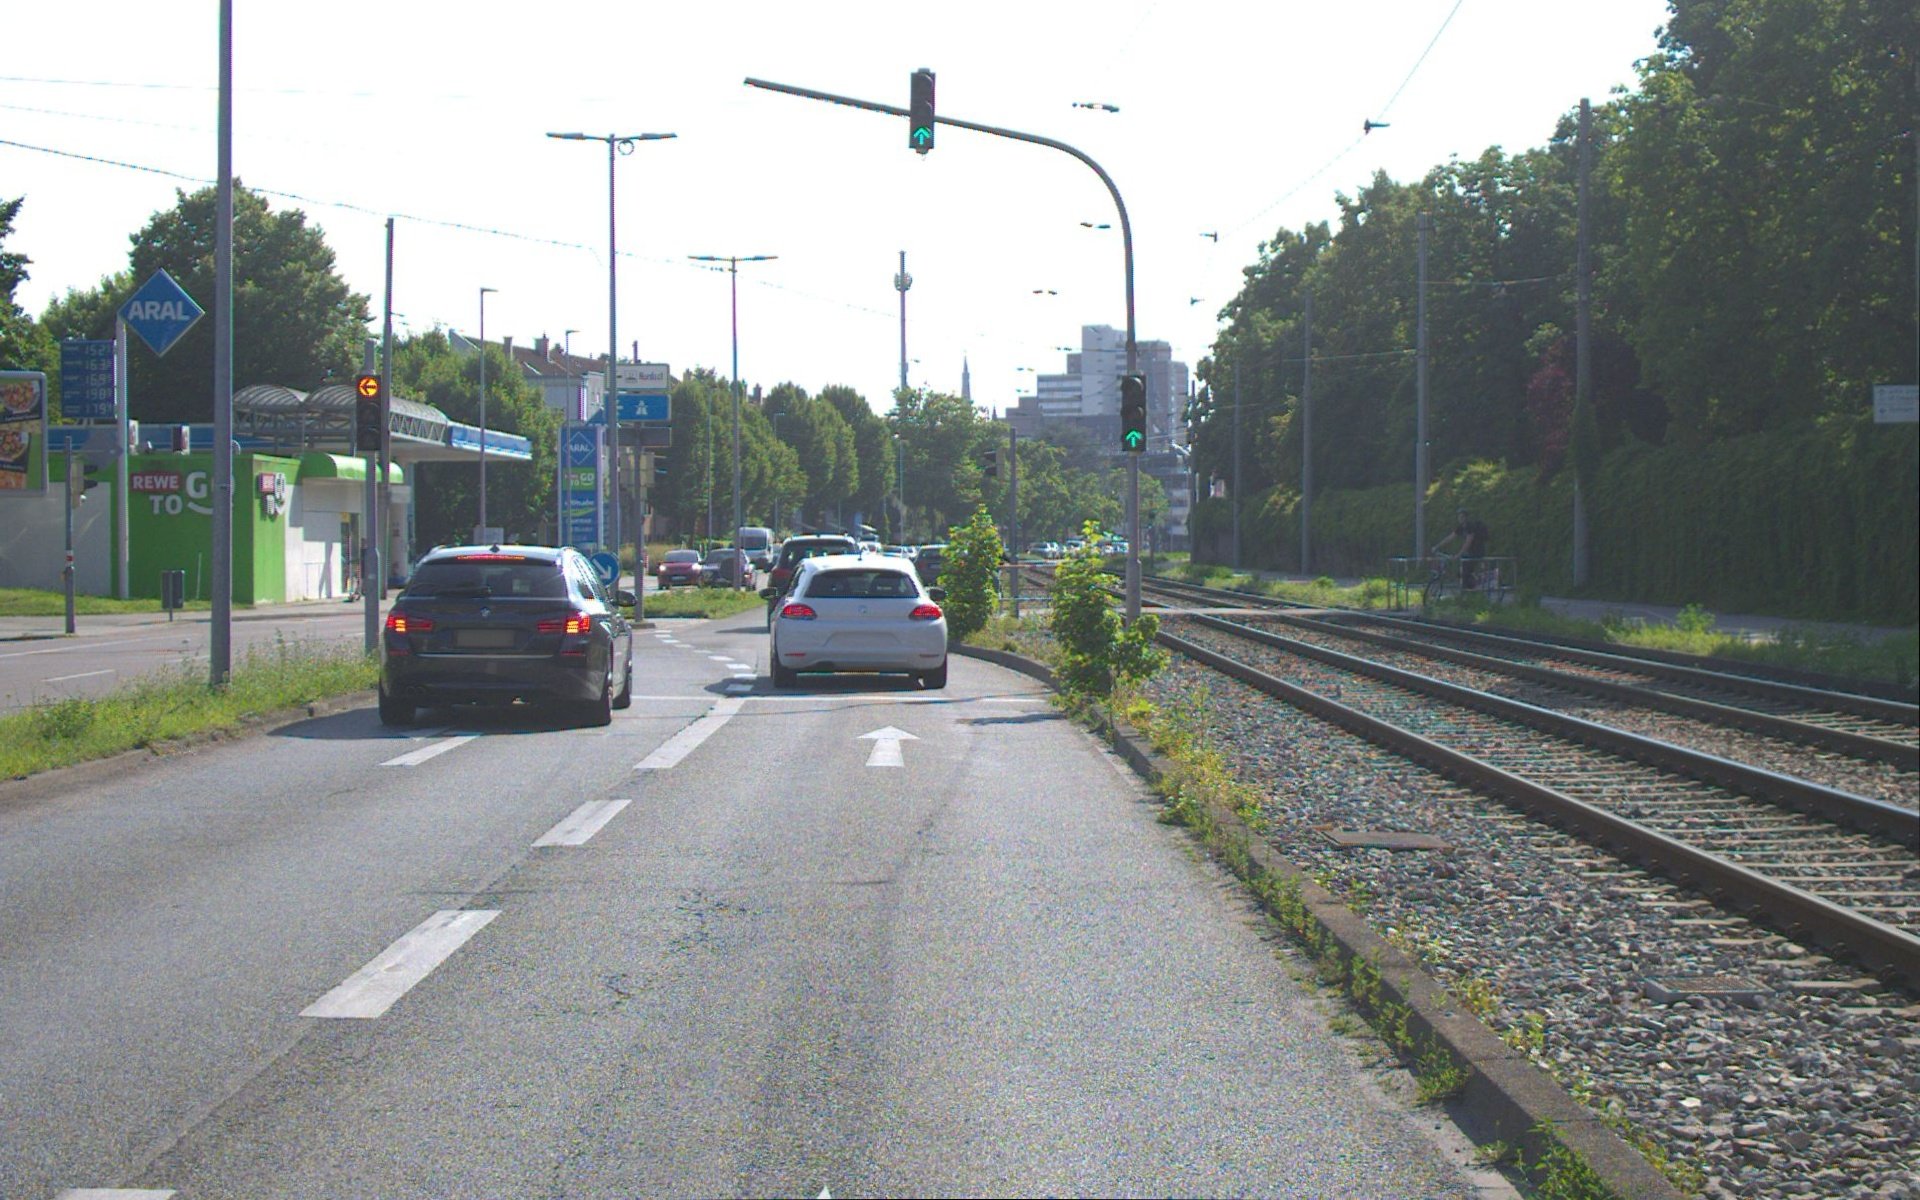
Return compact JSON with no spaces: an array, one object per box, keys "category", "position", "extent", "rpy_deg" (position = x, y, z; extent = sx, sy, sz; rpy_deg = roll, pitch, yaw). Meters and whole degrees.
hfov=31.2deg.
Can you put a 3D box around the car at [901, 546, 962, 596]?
[{"category":"car","position":[-0.865,-0.912,106.624],"extent":[1.749,1.480,3.601],"rpy_deg":[1,1,1]}]

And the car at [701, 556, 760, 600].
[{"category":"car","position":[-7.459,-0.736,111.989],"extent":[1.653,1.390,4.134],"rpy_deg":[0,1,0]}]

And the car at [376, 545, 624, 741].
[{"category":"car","position":[-3.830,0.304,29.257],"extent":[1.760,1.480,4.646],"rpy_deg":[1,1,-4]}]

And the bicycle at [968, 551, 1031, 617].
[{"category":"bicycle","position":[0.733,-0.297,63.110],"extent":[0.643,1.150,1.935],"rpy_deg":[-1,2,15]}]

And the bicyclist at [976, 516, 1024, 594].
[{"category":"bicyclist","position":[0.747,-0.834,63.172],"extent":[0.643,1.411,1.012],"rpy_deg":[0,1,15]}]

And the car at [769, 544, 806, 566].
[{"category":"car","position":[-11.000,-2.886,219.761],"extent":[1.994,1.411,3.843],"rpy_deg":[-1,1,2]}]

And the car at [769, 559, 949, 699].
[{"category":"car","position":[-1.030,0.273,36.757],"extent":[1.781,1.351,3.601],"rpy_deg":[1,1,0]}]

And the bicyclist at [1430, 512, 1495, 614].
[{"category":"bicyclist","position":[9.931,-0.732,67.947],"extent":[1.034,1.987,0.946],"rpy_deg":[0,1,25]}]

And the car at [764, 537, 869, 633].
[{"category":"car","position":[-2.541,-0.281,60.260],"extent":[1.724,1.587,3.602],"rpy_deg":[1,1,-4]}]

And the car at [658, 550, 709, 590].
[{"category":"car","position":[-10.170,-1.113,126.719],"extent":[1.574,1.412,3.333],"rpy_deg":[0,1,1]}]

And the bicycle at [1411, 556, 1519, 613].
[{"category":"bicycle","position":[9.980,-0.306,67.950],"extent":[1.923,1.111,0.946],"rpy_deg":[0,1,25]}]

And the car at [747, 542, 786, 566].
[{"category":"car","position":[-11.714,-2.783,208.401],"extent":[1.994,1.411,3.843],"rpy_deg":[-1,1,2]}]
